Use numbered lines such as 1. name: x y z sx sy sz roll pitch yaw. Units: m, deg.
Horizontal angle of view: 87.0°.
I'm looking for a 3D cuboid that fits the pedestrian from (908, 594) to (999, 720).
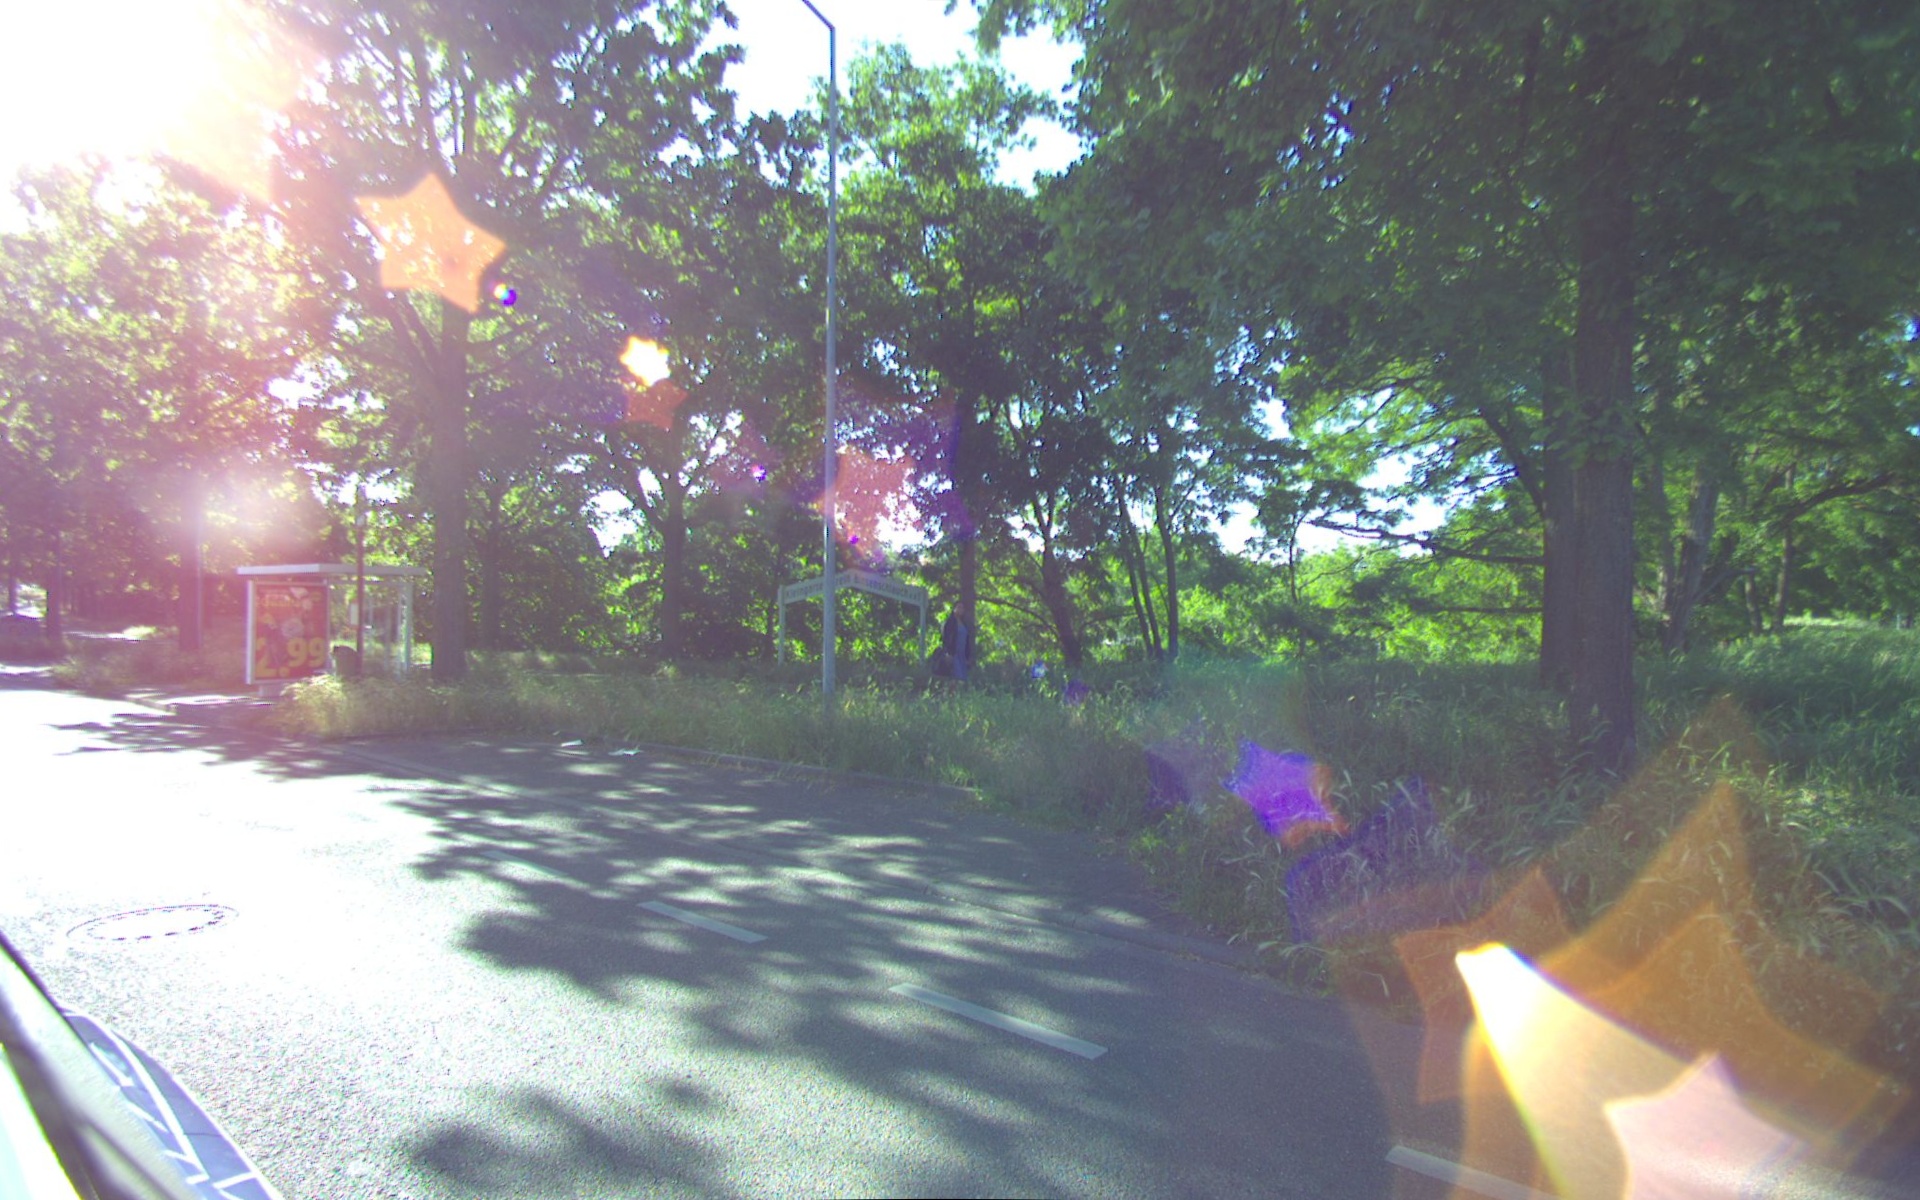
1. pedestrian: -0.091 0.781 14.395 0.891 1.701 0.903 -2 -1 42
